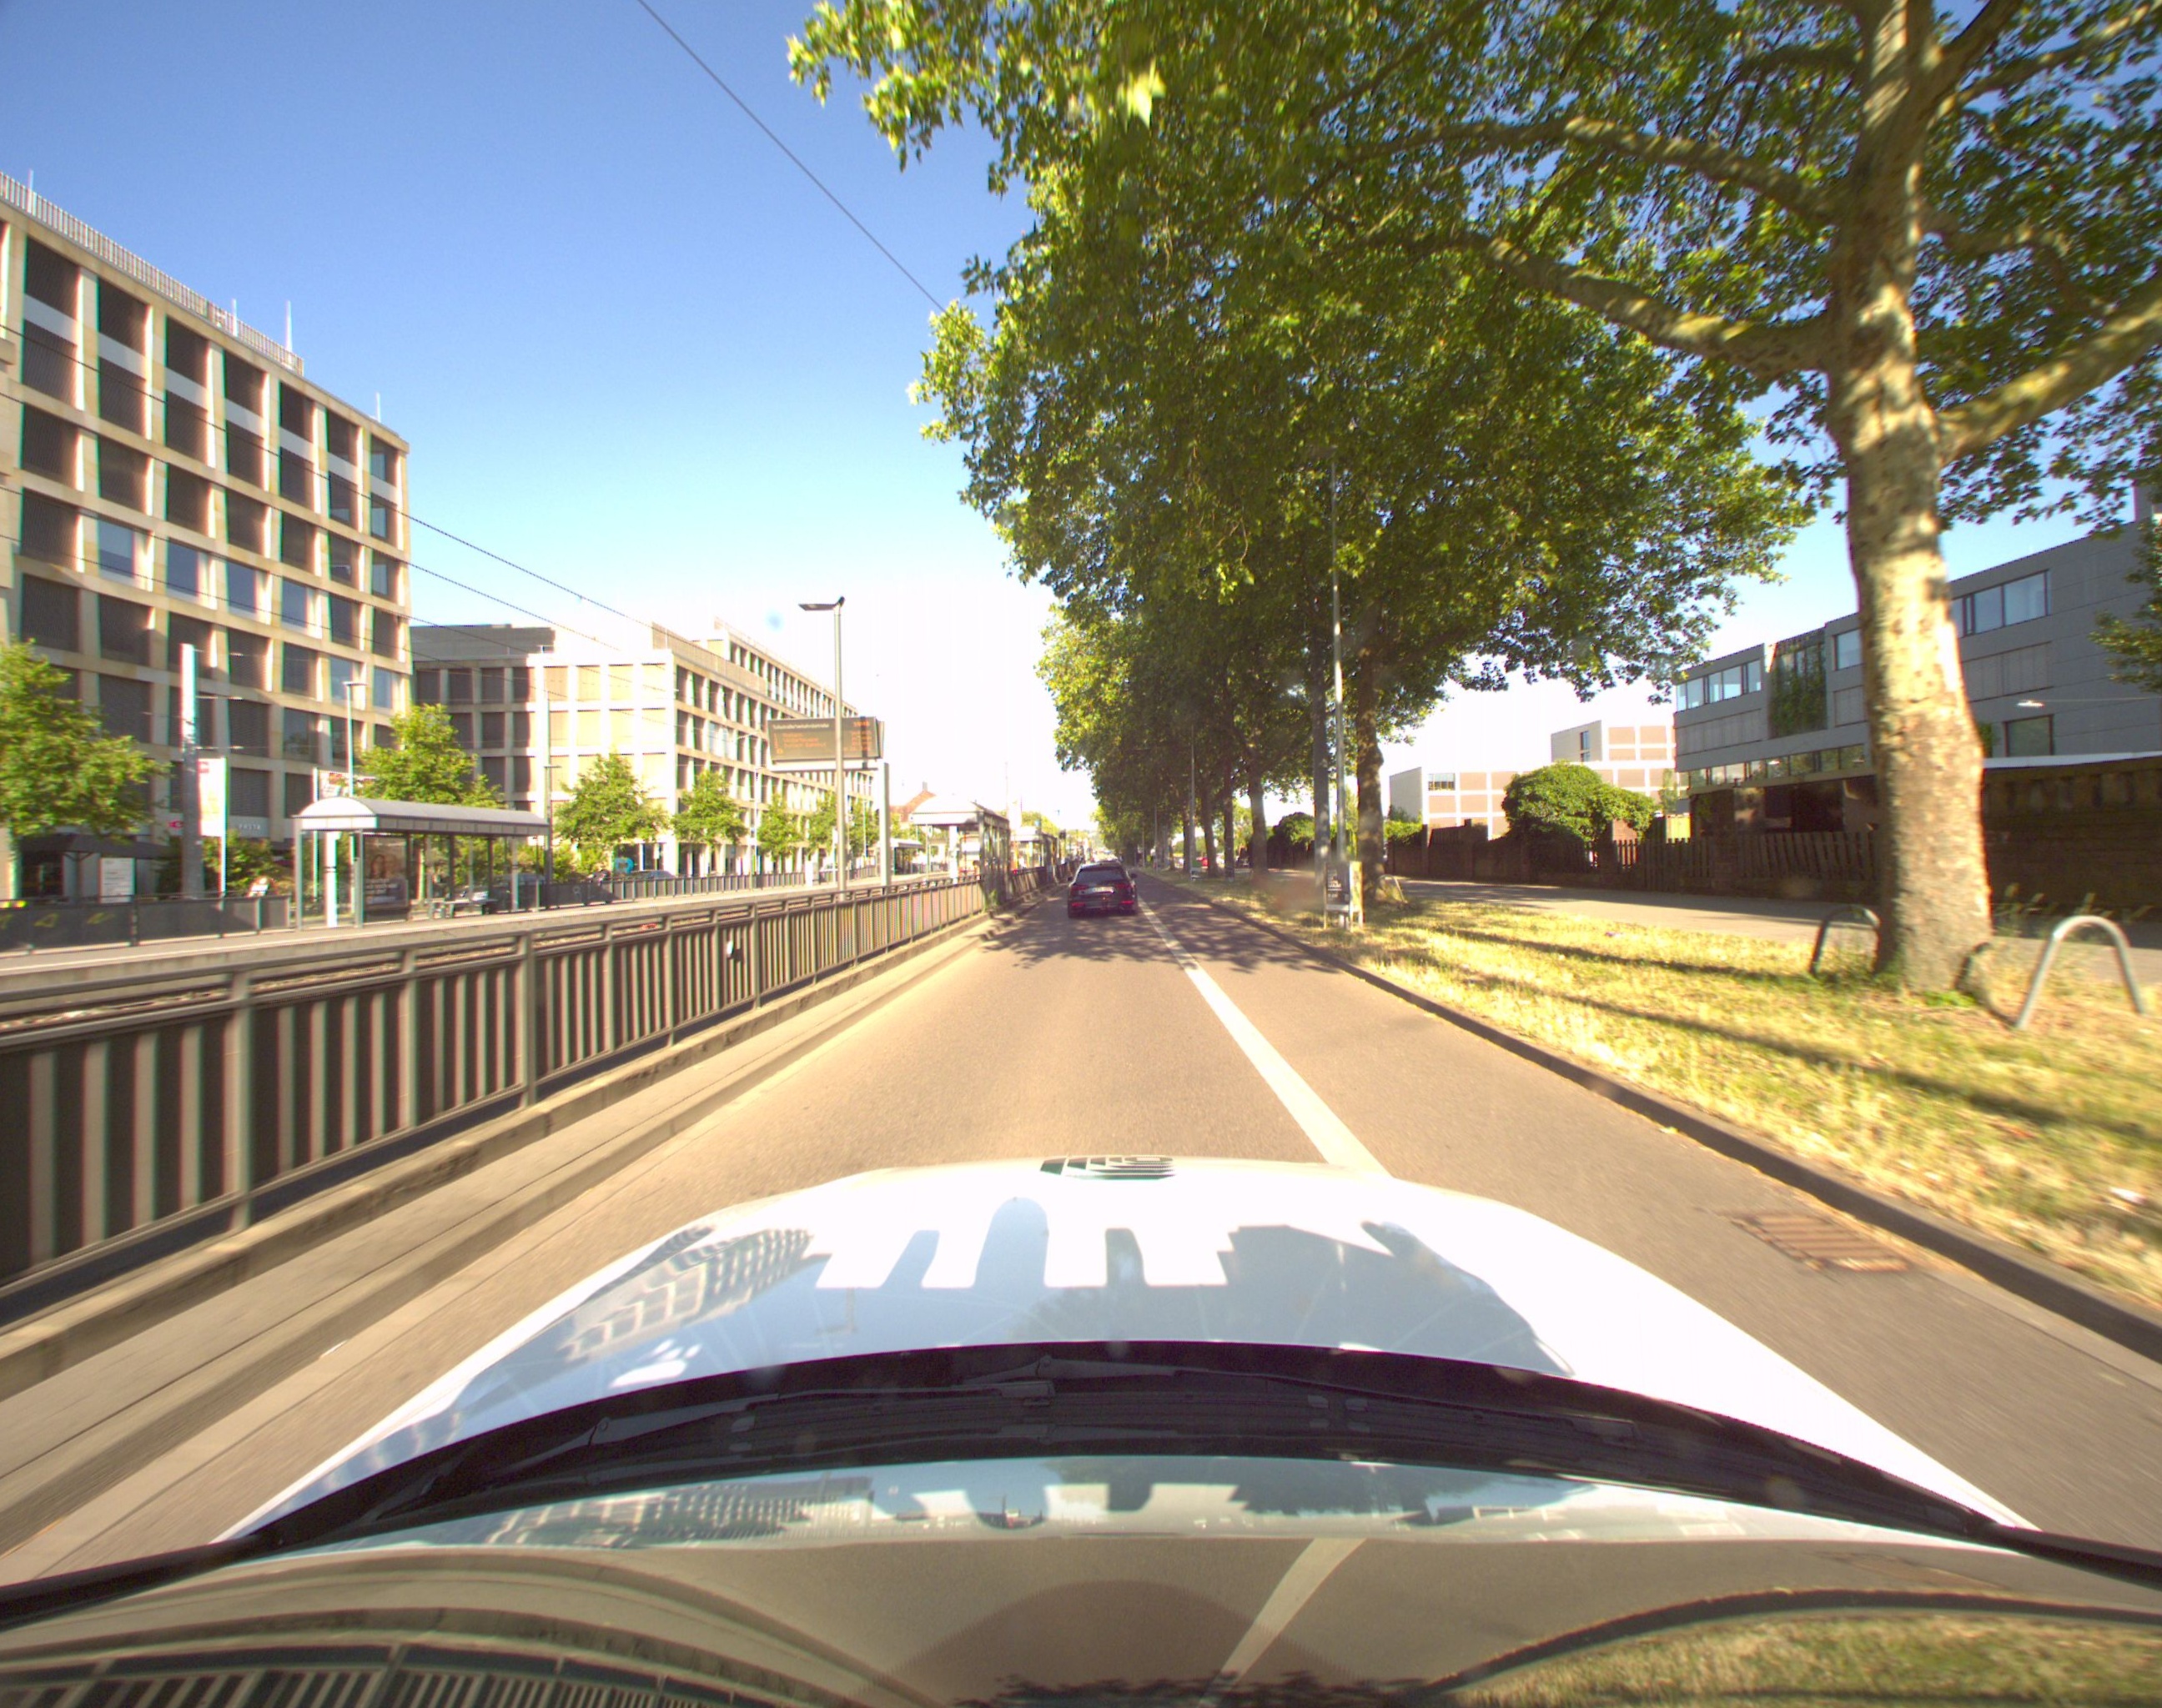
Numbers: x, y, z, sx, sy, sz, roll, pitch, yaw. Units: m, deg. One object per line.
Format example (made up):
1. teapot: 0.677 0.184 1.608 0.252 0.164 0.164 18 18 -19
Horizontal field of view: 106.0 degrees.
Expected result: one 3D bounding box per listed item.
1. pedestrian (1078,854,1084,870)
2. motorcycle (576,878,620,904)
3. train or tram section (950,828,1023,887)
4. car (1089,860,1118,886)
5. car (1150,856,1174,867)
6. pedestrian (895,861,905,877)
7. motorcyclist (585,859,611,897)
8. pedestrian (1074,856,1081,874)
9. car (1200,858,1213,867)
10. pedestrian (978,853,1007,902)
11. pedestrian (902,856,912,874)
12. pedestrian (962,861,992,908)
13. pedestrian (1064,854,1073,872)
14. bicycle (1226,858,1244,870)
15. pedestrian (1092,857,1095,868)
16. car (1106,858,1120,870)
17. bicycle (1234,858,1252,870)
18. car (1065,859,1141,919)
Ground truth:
1. pedestrian: -0.025 0.925 91.188 0.609 1.784 0.614 -1 -1 2
2. motorcycle: -19.960 1.518 33.687 0.602 1.021 1.843 -1 -1 3
3. train or tram section: -6.751 0.319 60.983 3.296 3.829 14.225 -1 -1 2
4. car: 1.455 1.216 53.299 1.757 1.619 3.999 -1 -1 0
5. car: 13.890 1.282 139.333 3.971 1.764 1.834 -1 -1 2
6. pedestrian: -15.047 1.256 67.830 0.611 1.260 0.725 -1 -1 6
7. motorcyclist: -19.961 0.994 33.648 0.573 1.533 0.765 -1 -1 3
8. pedestrian: -0.320 1.043 78.647 0.609 1.668 0.614 -1 -1 4
9. car: 20.082 1.351 130.450 1.608 1.515 3.805 -1 -1 2
10. pedestrian: -2.784 0.724 25.699 0.742 1.509 0.667 -2 -1 4
11. pedestrian: -15.050 0.976 70.373 0.610 1.527 0.726 -1 -1 10
12. pedestrian: -2.922 0.848 22.840 0.739 1.274 0.525 -1 -1 1
13. pedestrian: -1.114 0.801 72.967 0.610 1.549 0.727 -1 -1 12
14. bicycle: 16.533 1.074 87.347 1.767 1.120 0.439 -3 -1 1
15. pedestrian: 1.920 1.344 128.223 0.410 1.717 0.666 -1 -1 2
16. car: 4.429 1.415 112.712 1.757 1.619 3.999 -1 -1 0
17. bicycle: 16.127 1.031 81.071 1.681 1.120 0.439 -3 -1 1
18. car: 0.567 0.901 22.373 1.872 1.457 3.356 -3 0 0
